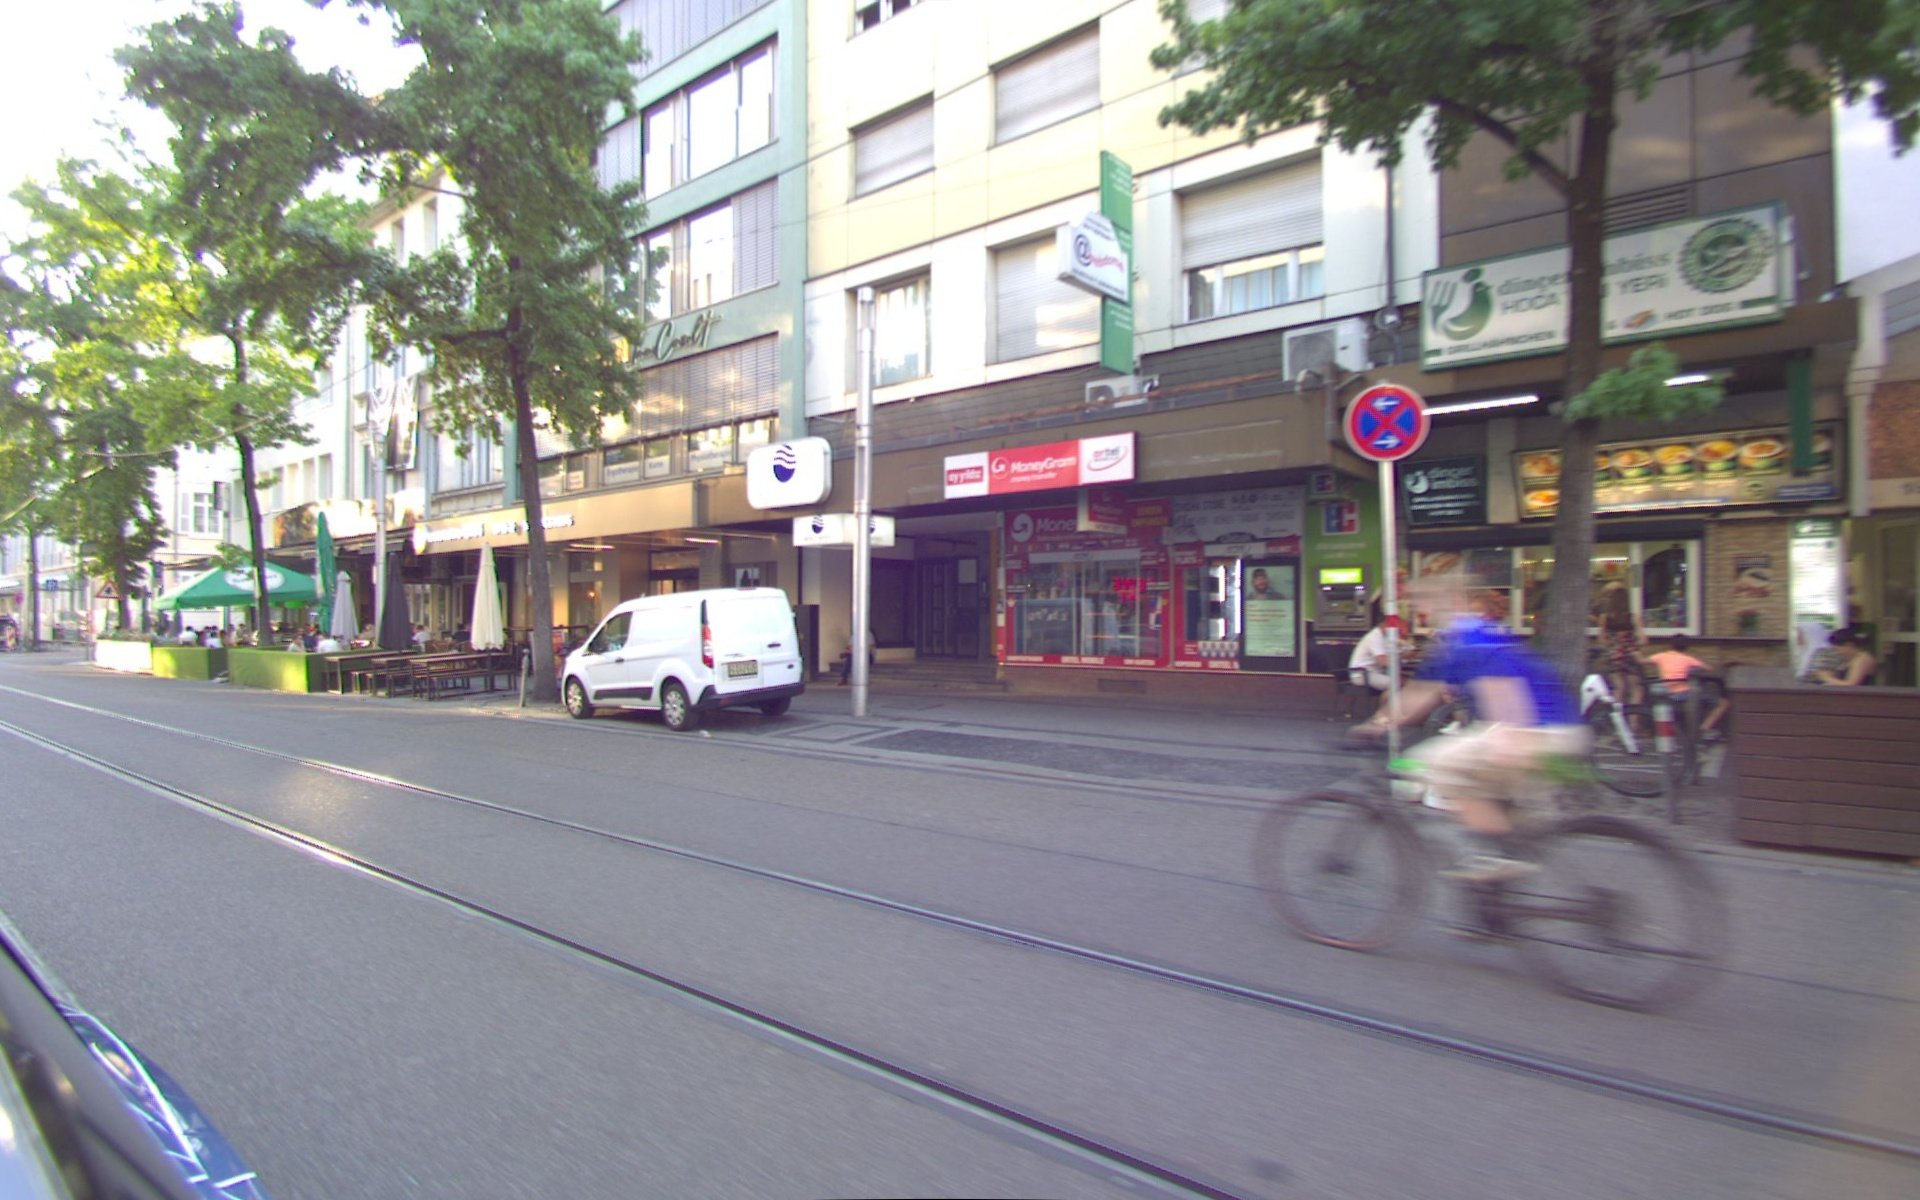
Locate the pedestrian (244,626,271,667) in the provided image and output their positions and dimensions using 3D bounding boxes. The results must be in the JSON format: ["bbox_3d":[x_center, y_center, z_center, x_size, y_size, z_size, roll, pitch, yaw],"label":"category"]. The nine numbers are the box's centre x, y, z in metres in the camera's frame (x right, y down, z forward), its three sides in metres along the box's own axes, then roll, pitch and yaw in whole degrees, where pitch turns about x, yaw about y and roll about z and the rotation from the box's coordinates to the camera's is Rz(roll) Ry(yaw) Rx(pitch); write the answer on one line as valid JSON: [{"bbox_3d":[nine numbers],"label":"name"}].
[{"bbox_3d":[-25.904,1.709,37.336,0.649,1.471,0.642,-2,-2,37],"label":"pedestrian"}]

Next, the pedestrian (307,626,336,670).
[{"bbox_3d":[-21.741,1.628,34.474,0.649,1.471,0.642,-2,-2,37],"label":"pedestrian"}]

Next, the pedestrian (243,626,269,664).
[{"bbox_3d":[-27.262,1.732,39.192,0.649,1.471,0.642,-2,-2,38],"label":"pedestrian"}]

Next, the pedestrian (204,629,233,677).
[{"bbox_3d":[-22.394,1.586,30.560,0.640,1.396,0.651,1,-2,-44],"label":"pedestrian"}]

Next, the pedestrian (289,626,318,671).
[{"bbox_3d":[-22.151,1.631,34.168,0.649,1.471,0.642,-2,-2,37],"label":"pedestrian"}]

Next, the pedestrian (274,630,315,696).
[{"bbox_3d":[-15.278,1.439,23.234,0.650,1.471,0.641,-2,-2,40],"label":"pedestrian"}]

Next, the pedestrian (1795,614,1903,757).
[{"bbox_3d":[7.832,0.722,8.941,0.664,1.165,0.635,-1,2,37],"label":"pedestrian"}]

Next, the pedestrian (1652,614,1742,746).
[{"bbox_3d":[7.029,0.734,9.657,0.664,1.165,0.635,-1,2,37],"label":"pedestrian"}]

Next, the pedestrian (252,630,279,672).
[{"bbox_3d":[-25.199,1.841,36.716,0.649,1.471,0.642,-2,-2,37],"label":"pedestrian"}]

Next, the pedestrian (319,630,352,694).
[{"bbox_3d":[-14.661,1.434,23.742,0.639,1.471,0.652,0,-2,-33],"label":"pedestrian"}]

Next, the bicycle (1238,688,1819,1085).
[{"bbox_3d":[2.140,0.953,3.991,1.865,1.081,0.722,-2,0,42],"label":"bicycle"}]

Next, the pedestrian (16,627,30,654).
[{"bbox_3d":[-52.808,2.272,57.045,0.543,1.471,0.484,-2,-2,38],"label":"pedestrian"}]

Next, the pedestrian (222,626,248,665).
[{"bbox_3d":[-27.657,1.734,38.616,0.649,1.471,0.642,-2,-2,38],"label":"pedestrian"}]

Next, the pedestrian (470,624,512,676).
[{"bbox_3d":[-12.195,1.294,26.321,0.785,1.326,0.693,-1,-2,35],"label":"pedestrian"}]

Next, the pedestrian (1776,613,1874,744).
[{"bbox_3d":[8.229,0.721,9.654,0.664,1.165,0.635,-1,2,37],"label":"pedestrian"}]

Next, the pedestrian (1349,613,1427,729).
[{"bbox_3d":[4.912,0.794,11.619,0.664,1.237,0.635,0,3,37],"label":"pedestrian"}]

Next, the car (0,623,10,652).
[{"bbox_3d":[-51.925,1.984,53.669,3.997,1.522,1.776,-2,-2,40],"label":"car"}]

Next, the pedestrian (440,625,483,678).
[{"bbox_3d":[-12.695,1.297,25.767,0.785,1.326,0.693,-1,-2,35],"label":"pedestrian"}]

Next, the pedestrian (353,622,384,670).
[{"bbox_3d":[-18.453,1.439,31.572,0.649,1.471,0.642,-2,-2,37],"label":"pedestrian"}]

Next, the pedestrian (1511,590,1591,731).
[{"bbox_3d":[6.454,0.630,11.043,0.642,1.444,0.654,0,4,39],"label":"pedestrian"}]

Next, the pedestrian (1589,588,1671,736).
[{"bbox_3d":[7.011,0.622,10.590,0.642,1.444,0.654,0,4,39],"label":"pedestrian"}]

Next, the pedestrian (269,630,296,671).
[{"bbox_3d":[-24.887,1.840,37.196,0.649,1.471,0.642,-2,-2,37],"label":"pedestrian"}]

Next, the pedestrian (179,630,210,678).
[{"bbox_3d":[-22.787,1.589,30.125,0.640,1.396,0.651,1,-2,-44],"label":"pedestrian"}]

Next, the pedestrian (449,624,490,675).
[{"bbox_3d":[-13.014,1.305,26.836,0.785,1.326,0.693,-1,-2,35],"label":"pedestrian"}]

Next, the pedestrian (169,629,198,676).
[{"bbox_3d":[-23.736,1.603,30.924,0.640,1.396,0.651,1,-2,-44],"label":"pedestrian"}]

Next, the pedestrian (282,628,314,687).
[{"bbox_3d":[-16.938,1.469,25.880,0.639,1.471,0.651,0,-2,-37],"label":"pedestrian"}]

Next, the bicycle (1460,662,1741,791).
[{"bbox_3d":[5.057,0.985,8.108,1.813,0.933,0.477,-2,0,20],"label":"bicycle"}]

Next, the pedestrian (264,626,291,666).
[{"bbox_3d":[-25.586,1.708,37.940,0.649,1.471,0.642,-2,-2,38],"label":"pedestrian"}]

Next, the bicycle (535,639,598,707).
[{"bbox_3d":[-6.962,1.265,17.964,0.493,1.116,1.801,-1,-1,-3],"label":"bicycle"}]

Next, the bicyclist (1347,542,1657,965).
[{"bbox_3d":[2.131,0.517,3.987,0.897,1.425,0.751,-2,0,42],"label":"bicyclist"}]

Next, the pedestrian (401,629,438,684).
[{"bbox_3d":[-14.627,1.524,27.407,0.648,1.471,0.643,-1,-2,31],"label":"pedestrian"}]

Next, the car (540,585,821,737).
[{"bbox_3d":[-4.167,0.800,14.705,4.328,1.835,1.807,-2,1,41],"label":"car"}]

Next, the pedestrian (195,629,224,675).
[{"bbox_3d":[-23.285,1.600,31.382,0.640,1.396,0.651,1,-2,-44],"label":"pedestrian"}]

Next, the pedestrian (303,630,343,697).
[{"bbox_3d":[-14.379,1.427,22.849,0.639,1.471,0.652,0,-1,-20],"label":"pedestrian"}]

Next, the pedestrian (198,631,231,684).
[{"bbox_3d":[-20.096,1.547,27.274,0.640,1.396,0.651,1,-2,-44],"label":"pedestrian"}]

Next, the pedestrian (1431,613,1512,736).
[{"bbox_3d":[5.550,0.784,10.979,0.664,1.237,0.635,0,3,37],"label":"pedestrian"}]

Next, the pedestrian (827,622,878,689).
[{"bbox_3d":[-1.964,0.997,18.488,0.648,1.184,0.642,-1,0,35],"label":"pedestrian"}]
